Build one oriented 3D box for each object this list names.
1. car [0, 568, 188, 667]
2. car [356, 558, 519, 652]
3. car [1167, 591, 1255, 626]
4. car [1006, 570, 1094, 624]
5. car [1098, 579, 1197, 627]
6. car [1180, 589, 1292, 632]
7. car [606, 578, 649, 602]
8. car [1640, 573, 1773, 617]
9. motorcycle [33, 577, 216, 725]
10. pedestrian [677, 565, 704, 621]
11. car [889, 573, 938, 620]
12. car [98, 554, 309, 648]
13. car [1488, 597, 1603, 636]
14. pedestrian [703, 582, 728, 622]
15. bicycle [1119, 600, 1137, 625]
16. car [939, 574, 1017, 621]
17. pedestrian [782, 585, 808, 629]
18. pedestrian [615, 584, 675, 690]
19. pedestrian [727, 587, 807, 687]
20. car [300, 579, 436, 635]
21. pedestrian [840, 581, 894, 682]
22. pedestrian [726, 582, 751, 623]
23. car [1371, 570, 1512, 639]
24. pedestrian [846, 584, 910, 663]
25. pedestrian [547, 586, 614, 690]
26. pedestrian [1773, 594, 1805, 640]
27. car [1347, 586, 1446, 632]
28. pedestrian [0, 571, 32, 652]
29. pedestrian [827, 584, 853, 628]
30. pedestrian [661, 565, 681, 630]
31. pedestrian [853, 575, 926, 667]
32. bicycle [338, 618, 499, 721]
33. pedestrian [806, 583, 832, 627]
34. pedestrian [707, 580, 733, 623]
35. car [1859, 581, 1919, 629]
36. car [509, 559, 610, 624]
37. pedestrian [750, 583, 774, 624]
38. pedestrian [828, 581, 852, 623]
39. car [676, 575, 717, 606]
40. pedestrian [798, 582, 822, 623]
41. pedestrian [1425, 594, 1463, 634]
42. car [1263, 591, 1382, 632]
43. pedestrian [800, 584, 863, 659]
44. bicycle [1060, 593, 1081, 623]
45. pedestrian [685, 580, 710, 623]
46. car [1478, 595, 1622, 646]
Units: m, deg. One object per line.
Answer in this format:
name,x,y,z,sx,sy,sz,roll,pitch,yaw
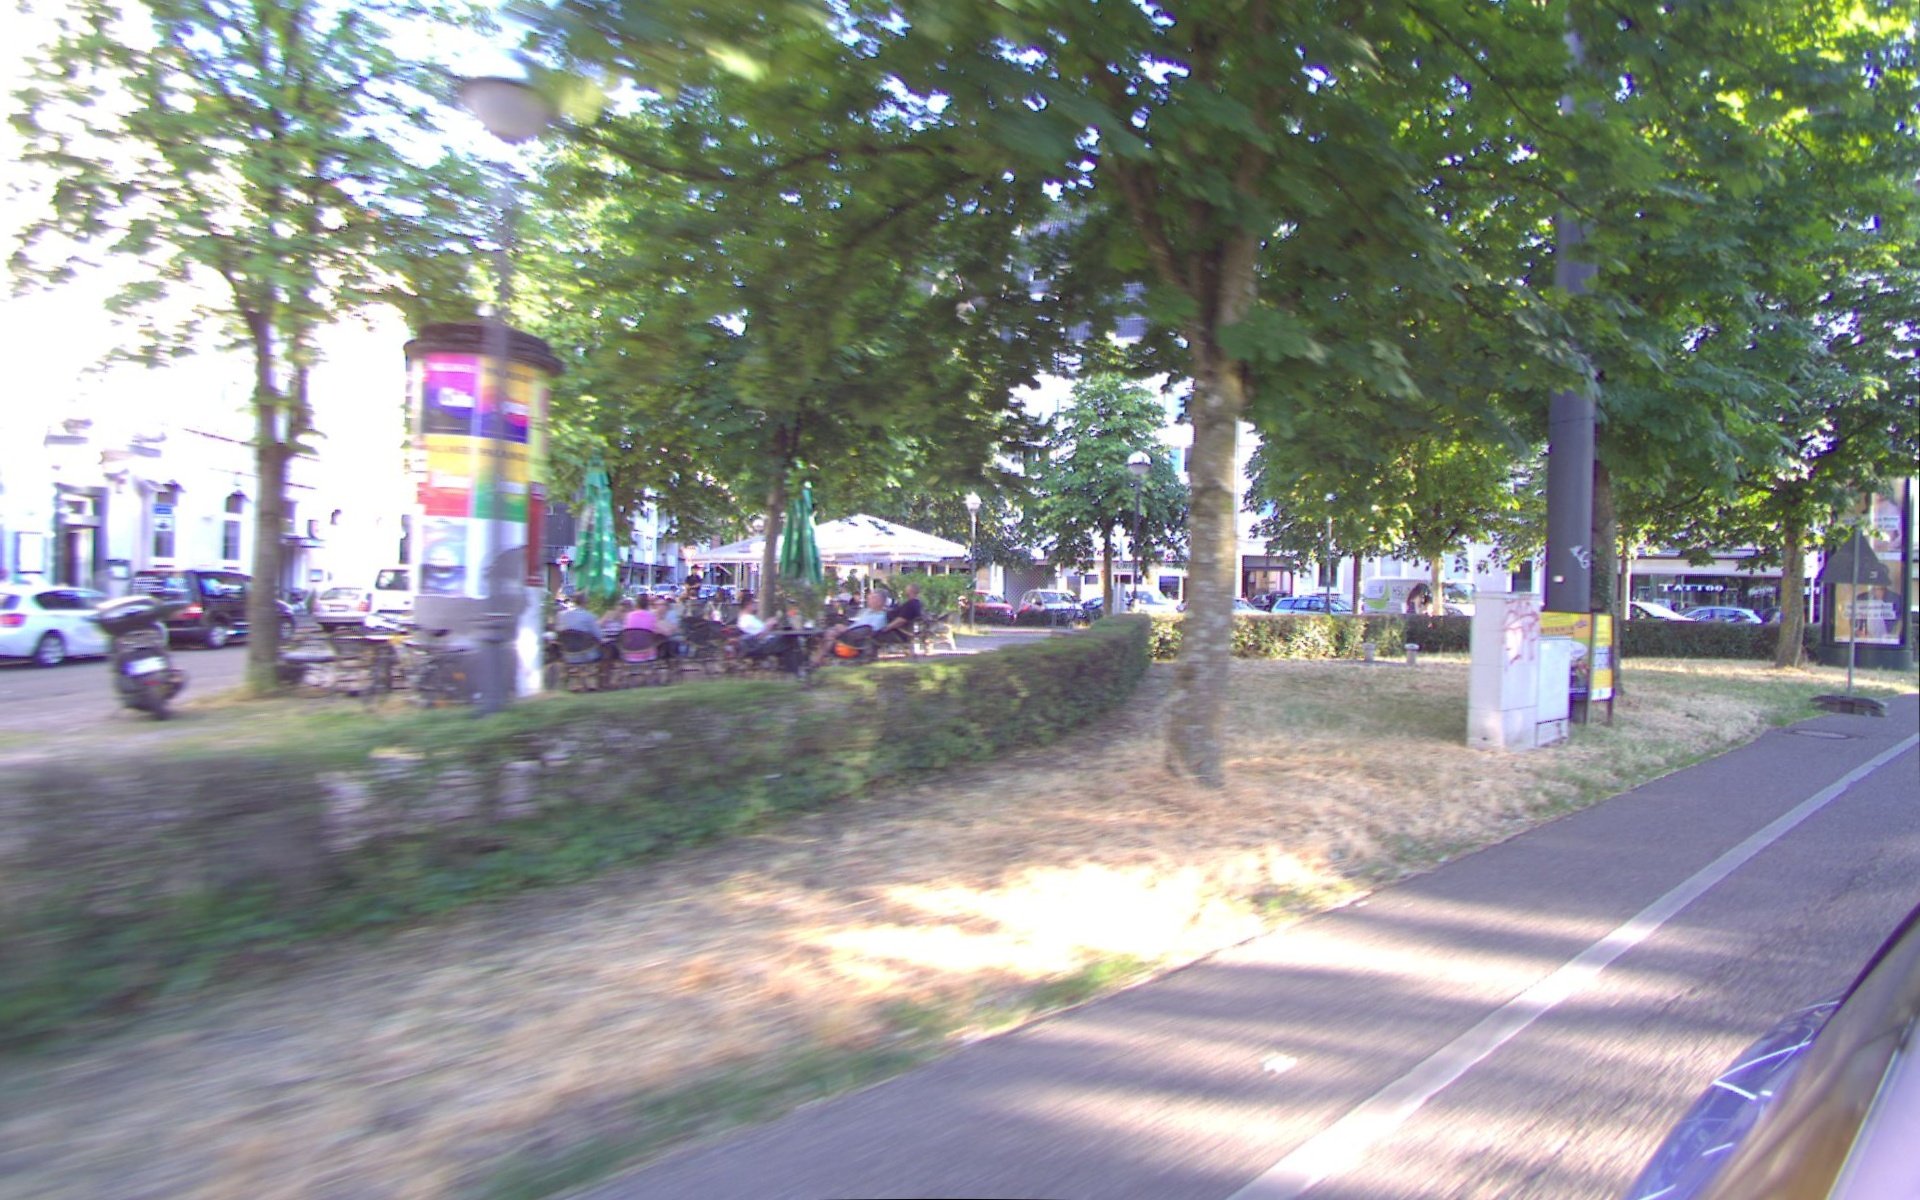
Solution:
car,-16.893,0.261,18.829,1.982,1.637,4.518,0,0,-6
car,-12.447,0.088,24.471,1.960,2.039,4.441,1,1,-5
car,12.013,0.395,48.435,3.949,1.514,1.941,1,3,20
car,3.557,-0.105,40.757,1.958,2.039,4.008,1,0,-21
car,7.145,0.099,38.935,1.958,1.727,4.008,1,0,-21
car,10.195,0.376,37.665,1.958,1.505,4.008,1,0,-22
car,-20.901,-0.648,63.746,1.847,1.439,3.557,1,1,-6
car,30.708,-0.231,41.758,3.951,1.659,1.988,1,3,21
motorcycle,-8.735,0.486,10.552,2.229,1.385,0.939,-1,-1,36
pedestrian,-7.751,-0.203,29.123,0.521,1.599,0.637,0,0,15
car,-1.836,-0.134,41.092,1.876,1.796,4.001,1,0,-2
car,-17.628,0.005,23.901,1.982,1.988,4.518,0,0,-6
car,25.173,0.670,43.637,3.947,1.510,1.816,1,2,18
pedestrian,-6.919,0.052,28.648,0.486,1.131,0.555,0,0,15
bicycle,5.633,0.395,33.911,0.440,0.789,1.268,1,1,17
car,0.661,-0.103,40.617,1.872,1.796,4.008,1,0,-18
pedestrian,-4.346,0.177,26.655,0.486,1.131,0.555,0,0,15
pedestrian,-4.022,0.488,12.959,0.649,1.301,0.953,1,-4,-13
pedestrian,-2.503,0.472,13.199,0.968,1.258,0.781,1,0,-9
car,-18.218,0.177,31.411,1.982,1.591,4.518,0,0,-6
pedestrian,-1.196,0.390,13.042,0.602,1.260,0.568,1,1,4
pedestrian,-6.247,0.063,28.522,0.486,1.131,0.555,0,0,15
car,16.807,0.144,35.683,2.051,2.269,4.889,1,0,-9
pedestrian,-1.326,0.396,16.476,0.936,1.259,0.661,-1,-4,8
pedestrian,-4.809,0.491,12.876,0.649,1.259,0.953,1,-4,-13
pedestrian,33.496,0.680,40.894,0.784,1.823,0.635,1,-1,18
car,19.576,0.376,45.580,3.949,1.908,1.941,1,2,20
pedestrian,-19.170,0.218,20.169,0.673,1.588,0.736,1,0,-6
pedestrian,-3.105,0.146,26.174,0.486,1.131,0.555,0,0,15
pedestrian,-7.738,-0.069,27.096,0.381,1.706,0.329,0,1,-39
pedestrian,-1.076,0.302,15.567,0.998,1.372,0.730,1,1,8
bicycle,-5.472,0.678,10.230,1.509,0.941,0.552,1,0,18
pedestrian,-3.682,0.134,26.459,0.486,1.131,0.555,0,0,15
pedestrian,-6.352,0.037,26.811,0.452,1.131,0.555,0,0,15
car,38.009,0.183,39.273,4.174,1.806,1.922,1,2,19
car,-13.359,-0.293,34.036,1.960,2.039,4.441,1,1,-5
pedestrian,-5.552,0.102,28.383,0.486,1.131,0.555,0,0,15
pedestrian,-3.309,0.044,27.859,0.486,1.131,0.555,0,0,15
car,-17.972,-0.661,69.176,1.960,2.039,4.441,1,1,-5
pedestrian,-4.151,0.061,27.988,0.486,1.131,0.555,0,0,15
pedestrian,15.266,0.429,31.941,0.949,1.241,1.361,1,0,21
car,13.276,0.394,37.278,1.958,1.416,4.008,1,0,-22
pedestrian,-2.206,0.368,17.487,0.936,1.258,0.662,-1,1,8
bicycle,3.907,0.279,35.651,0.321,1.008,1.463,1,1,22
pedestrian,-6.973,0.045,26.907,0.452,1.131,0.528,0,0,15
car,19.846,0.659,34.234,1.911,1.624,4.008,1,0,-15
